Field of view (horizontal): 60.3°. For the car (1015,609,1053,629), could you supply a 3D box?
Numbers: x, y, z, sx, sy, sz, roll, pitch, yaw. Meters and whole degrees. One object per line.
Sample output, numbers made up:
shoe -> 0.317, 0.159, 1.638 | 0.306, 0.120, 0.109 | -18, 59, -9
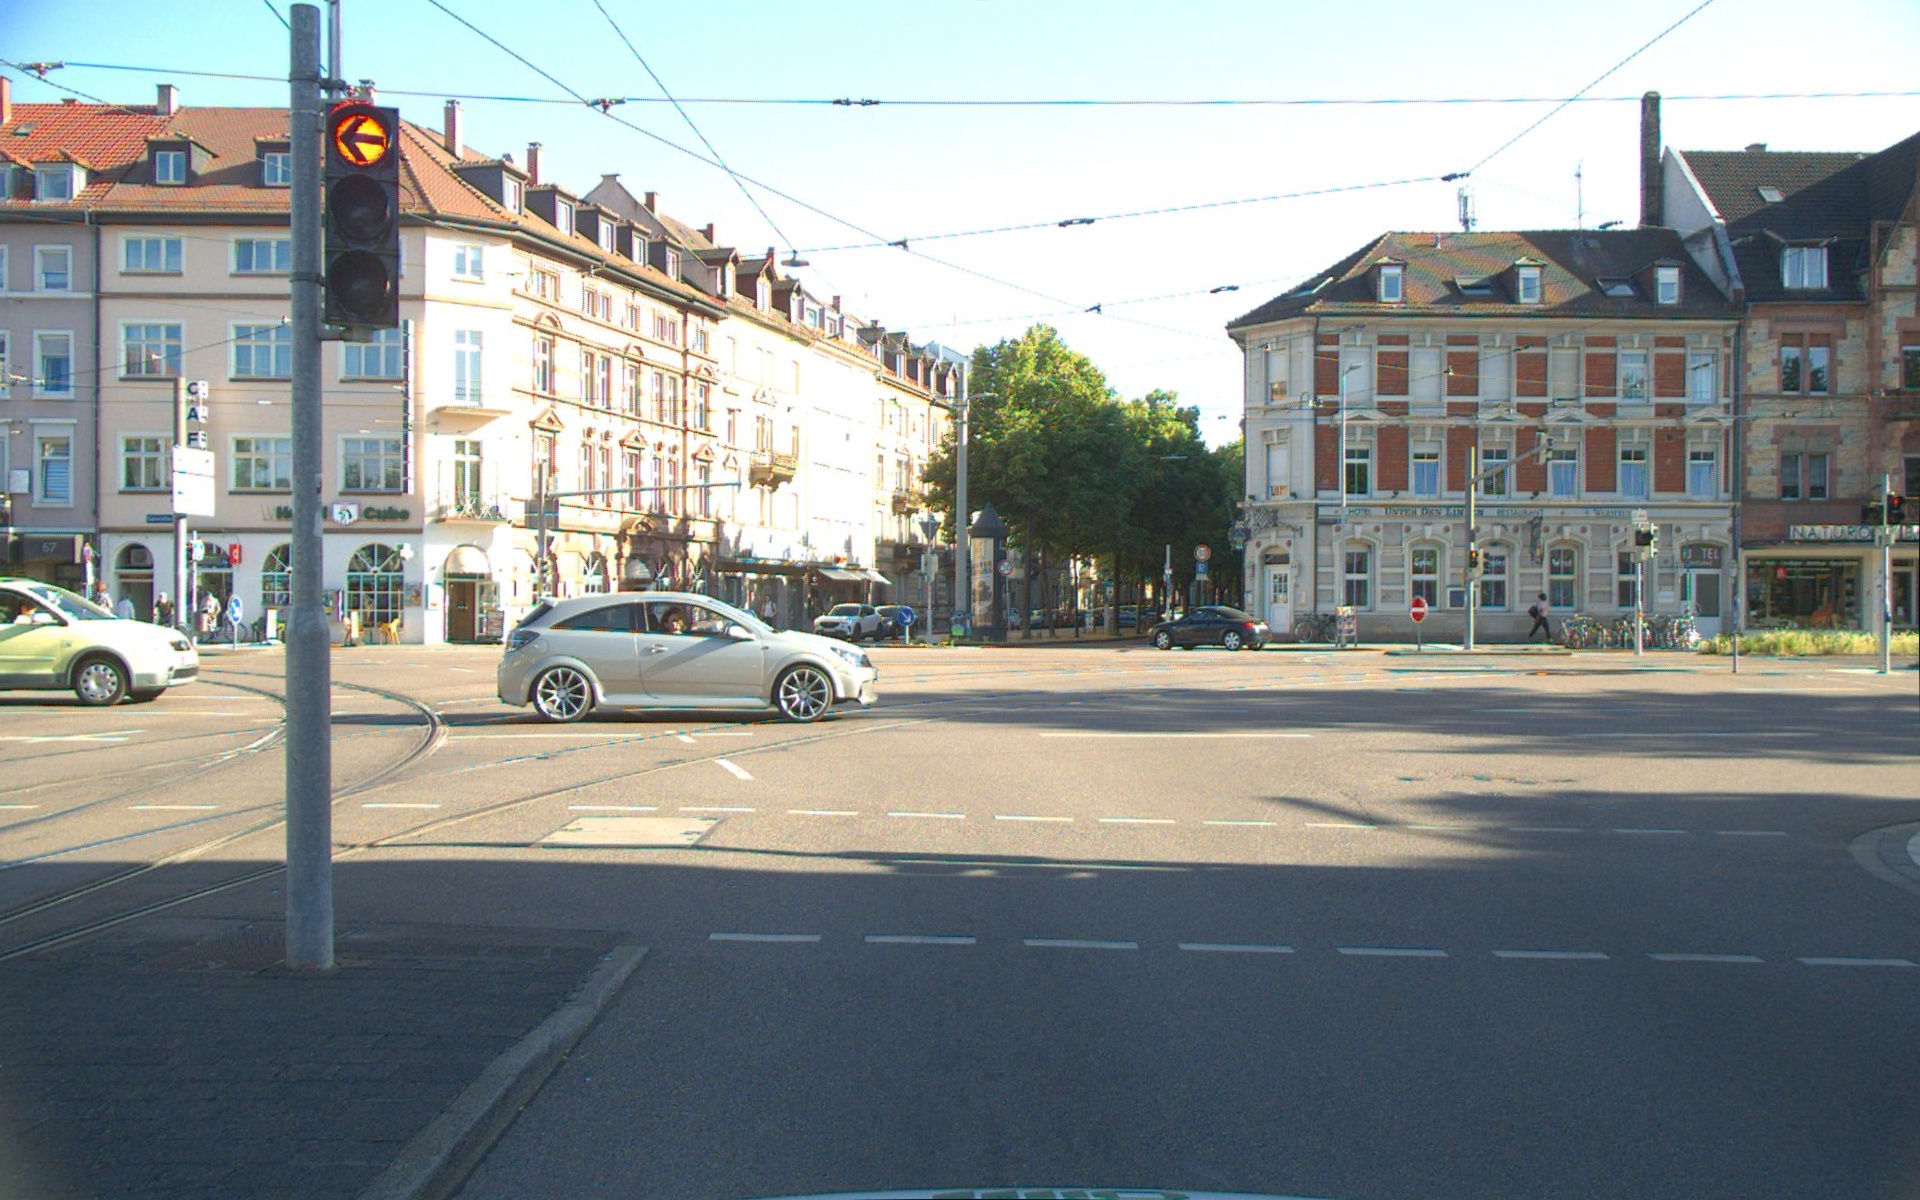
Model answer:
car -> 5.474, 1.375, 122.635 | 1.951, 1.429, 4.172 | 0, 0, 15

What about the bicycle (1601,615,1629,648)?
bicycle -> 21.162, 1.005, 53.479 | 0.476, 1.038, 1.785 | 0, 0, 9

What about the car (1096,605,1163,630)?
car -> 10.248, 1.037, 99.819 | 3.902, 1.480, 1.683 | 0, 0, 10

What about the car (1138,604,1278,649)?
car -> 7.697, 0.790, 51.377 | 3.986, 1.323, 1.718 | 0, 0, 32

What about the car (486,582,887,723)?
car -> -2.973, 0.553, 18.411 | 4.188, 1.466, 1.738 | 0, 0, -8

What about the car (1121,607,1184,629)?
car -> 12.315, 1.139, 105.558 | 3.902, 1.311, 1.696 | 0, 0, 10

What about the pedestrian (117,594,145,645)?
pedestrian -> -28.376, 0.664, 56.631 | 0.727, 1.711, 0.626 | 0, 0, -12

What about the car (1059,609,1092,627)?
car -> 9.570, 1.476, 136.721 | 1.951, 1.429, 4.172 | 0, 0, 15

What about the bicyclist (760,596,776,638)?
bicyclist -> -7.548, 0.652, 65.062 | 0.479, 1.629, 0.667 | 0, 0, 9

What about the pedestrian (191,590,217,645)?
pedestrian -> -23.671, 0.547, 51.797 | 0.731, 1.711, 0.623 | 0, 0, -26

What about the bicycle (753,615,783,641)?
bicycle -> -7.557, 1.097, 65.162 | 0.641, 1.018, 1.666 | 1, 0, 11

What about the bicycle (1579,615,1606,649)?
bicycle -> 20.472, 1.026, 53.571 | 0.476, 1.038, 1.785 | 0, 0, 9

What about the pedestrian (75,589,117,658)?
pedestrian -> -21.535, 0.570, 41.228 | 0.725, 1.711, 0.628 | 0, 0, -1

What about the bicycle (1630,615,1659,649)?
bicycle -> 22.109, 1.022, 53.476 | 0.476, 1.038, 1.785 | 0, 0, 9

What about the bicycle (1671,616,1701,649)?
bicycle -> 23.589, 1.049, 53.738 | 0.476, 1.038, 1.785 | 0, 0, 9

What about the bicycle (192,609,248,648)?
bicycle -> -25.272, 0.965, 56.506 | 1.684, 1.299, 0.385 | 0, 0, -18

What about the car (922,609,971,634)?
car -> -0.820, 1.315, 102.052 | 1.951, 1.429, 4.172 | 0, 0, 15

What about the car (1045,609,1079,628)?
car -> 8.141, 1.430, 131.503 | 1.951, 1.429, 4.172 | 0, 0, 15

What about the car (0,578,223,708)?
car -> -11.357, 0.500, 20.275 | 3.881, 1.525, 1.738 | 0, 0, -8

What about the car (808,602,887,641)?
car -> -4.547, 0.847, 67.386 | 1.951, 1.542, 4.172 | 0, 0, 15

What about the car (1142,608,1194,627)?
car -> 14.044, 1.149, 111.657 | 3.360, 1.261, 1.578 | 0, 0, 10

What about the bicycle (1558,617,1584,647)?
bicycle -> 19.803, 1.019, 53.648 | 0.476, 0.930, 1.785 | 0, 0, 9

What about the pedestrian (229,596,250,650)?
pedestrian -> -17.192, 0.544, 39.459 | 0.358, 1.275, 0.449 | 0, 0, -12

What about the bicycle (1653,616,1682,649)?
bicycle -> 22.904, 1.036, 53.556 | 0.476, 1.038, 1.785 | 0, 0, 9

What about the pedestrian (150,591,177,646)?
pedestrian -> -24.953, 0.582, 51.829 | 0.731, 1.711, 0.623 | 0, 0, -26

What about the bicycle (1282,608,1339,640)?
bicycle -> 12.175, 0.830, 57.509 | 1.911, 1.072, 0.716 | 0, 0, 9

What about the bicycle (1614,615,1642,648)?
bicycle -> 21.611, 1.013, 53.547 | 0.476, 1.038, 1.785 | 0, 0, 9

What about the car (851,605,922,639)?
car -> -3.227, 0.952, 73.574 | 1.951, 1.429, 4.172 | 0, 0, 15

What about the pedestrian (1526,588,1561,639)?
pedestrian -> 20.185, 0.469, 57.234 | 1.013, 1.741, 0.630 | 1, -1, 8

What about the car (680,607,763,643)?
car -> -9.600, 0.984, 66.876 | 1.951, 1.385, 3.821 | 0, 0, 15
